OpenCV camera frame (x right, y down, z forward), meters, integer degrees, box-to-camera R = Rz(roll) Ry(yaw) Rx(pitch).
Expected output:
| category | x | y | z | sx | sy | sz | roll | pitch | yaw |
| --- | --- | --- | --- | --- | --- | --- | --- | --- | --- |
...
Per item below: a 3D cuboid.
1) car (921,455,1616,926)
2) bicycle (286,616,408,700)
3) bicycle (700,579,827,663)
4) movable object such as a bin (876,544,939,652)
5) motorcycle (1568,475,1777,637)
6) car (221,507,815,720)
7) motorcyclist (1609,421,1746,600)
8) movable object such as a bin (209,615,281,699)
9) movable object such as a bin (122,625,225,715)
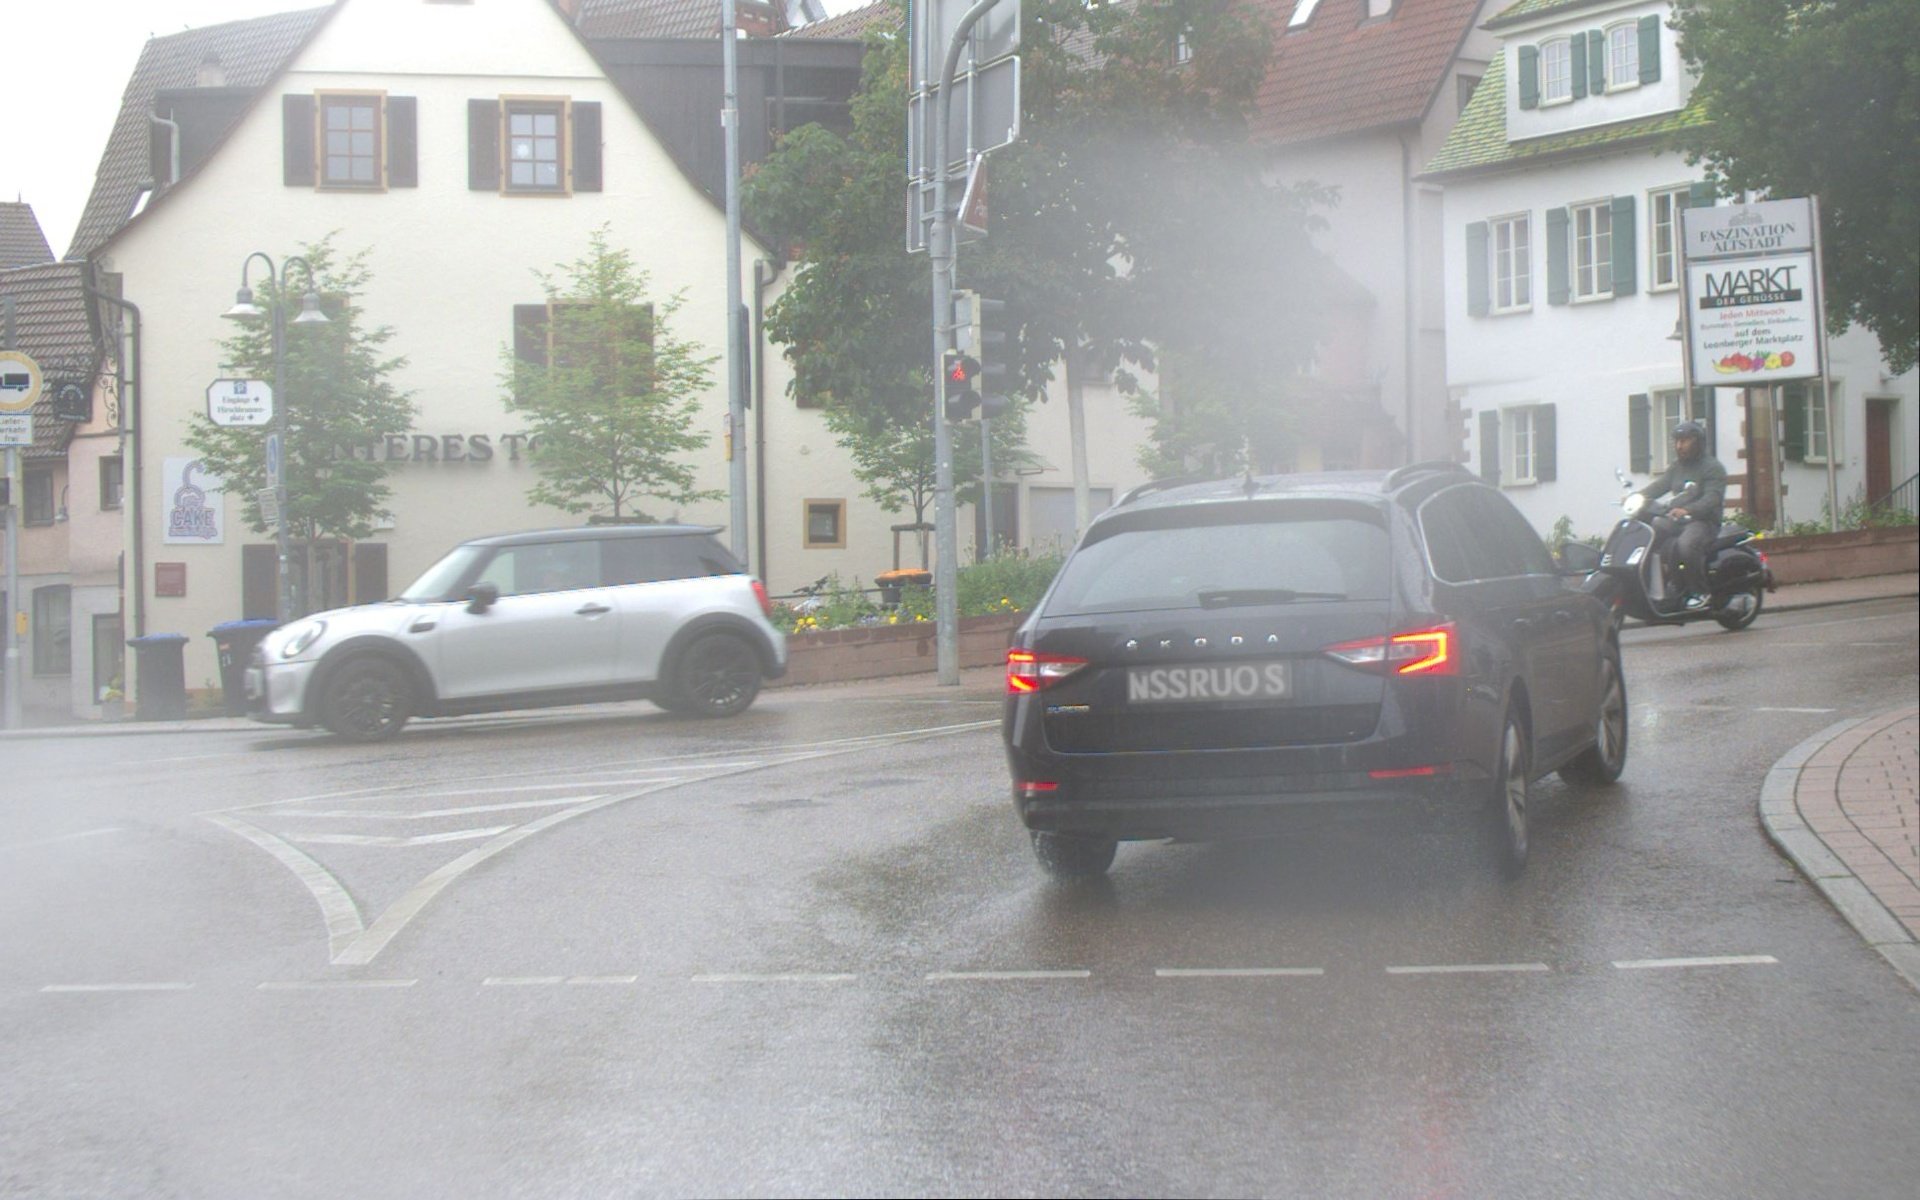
| category | x | y | z | sx | sy | sz | roll | pitch | yaw |
| --- | --- | --- | --- | --- | --- | --- | --- | --- | --- |
| car | 1.401 | 0.210 | 13.517 | 1.888 | 1.443 | 4.354 | 0 | 3 | 16 |
| bicycle | -6.553 | 0.614 | 36.811 | 0.338 | 0.815 | 1.434 | 2 | 3 | 36 |
| bicycle | -2.290 | 0.234 | 40.082 | 1.465 | 0.909 | 0.392 | -2 | 3 | -32 |
| movable object such as a bin | -0.629 | -0.031 | 41.085 | 0.683 | 1.272 | 0.748 | 0 | 1 | -6 |
| motorcycle | 5.457 | -0.345 | 26.254 | 0.770 | 1.127 | 1.913 | -2 | 2 | 37 |
| car | -3.230 | 0.062 | 24.854 | 3.986 | 1.426 | 2.001 | -1 | 1 | -16 |
| motorcyclist | 5.492 | -0.679 | 26.306 | 0.810 | 1.349 | 0.667 | 0 | 1 | 38 |
| movable object such as a bin | -7.848 | 0.623 | 37.739 | 0.586 | 0.898 | 0.584 | -2 | 1 | -31 |
| movable object such as a bin | -8.296 | 0.731 | 36.279 | 0.724 | 0.923 | 0.787 | 0 | 1 | 22 |
